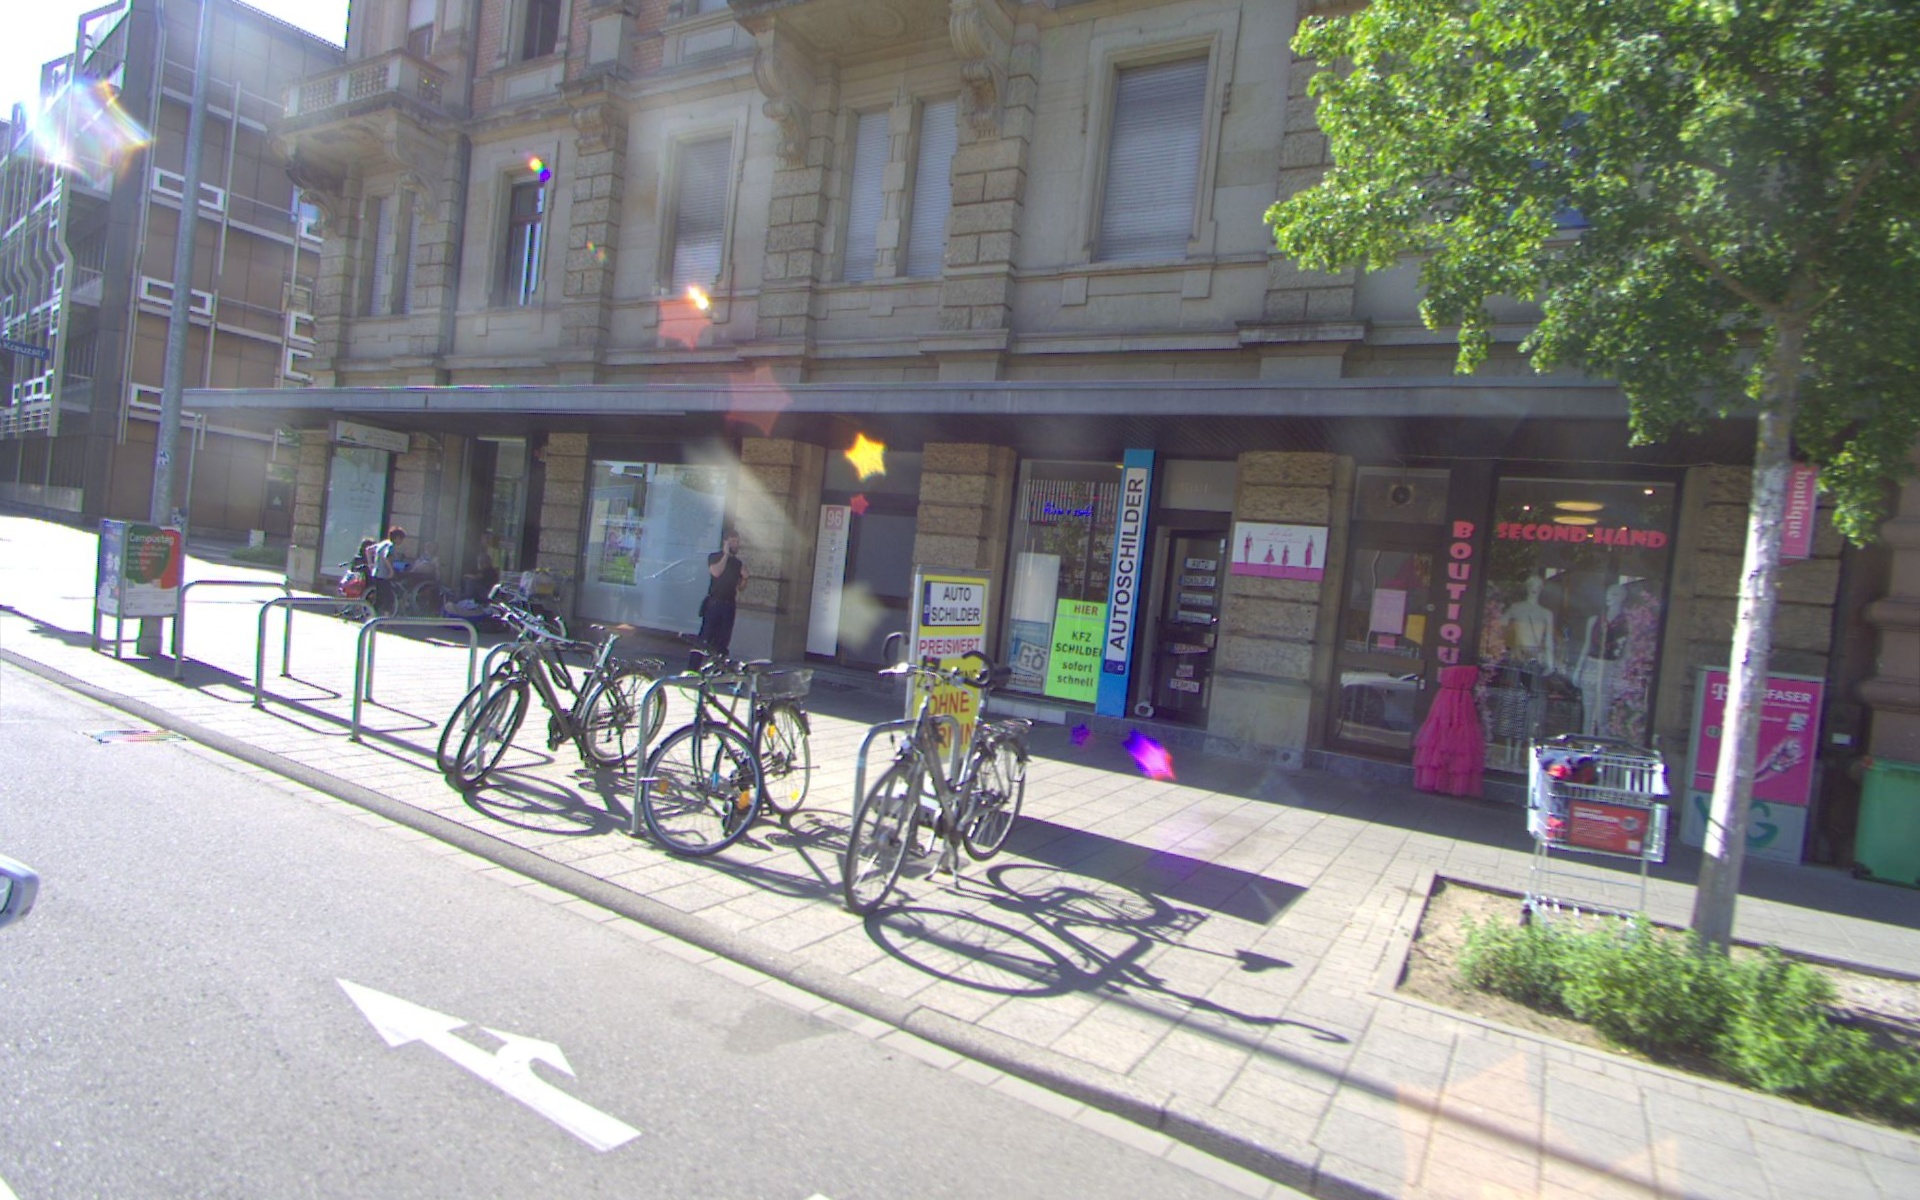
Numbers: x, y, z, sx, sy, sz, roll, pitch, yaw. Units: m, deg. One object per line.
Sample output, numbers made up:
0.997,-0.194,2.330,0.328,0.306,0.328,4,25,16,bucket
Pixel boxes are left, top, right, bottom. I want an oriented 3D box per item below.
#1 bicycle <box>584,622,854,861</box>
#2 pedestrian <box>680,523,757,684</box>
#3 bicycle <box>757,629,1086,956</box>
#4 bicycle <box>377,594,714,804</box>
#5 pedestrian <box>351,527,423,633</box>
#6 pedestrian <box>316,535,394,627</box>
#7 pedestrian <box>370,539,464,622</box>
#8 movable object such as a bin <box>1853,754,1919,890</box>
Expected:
-1.331,0.729,5.899,0.592,1.125,1.665,6,2,23,bicycle
-2.848,0.048,11.874,0.493,1.824,0.510,7,1,39,pedestrian
-0.097,0.819,5.084,0.680,1.268,1.865,6,2,30,bicycle
-2.623,0.589,6.652,0.593,1.135,2.050,6,2,31,bicycle
-8.023,-0.280,14.085,0.637,1.413,0.573,6,3,30,pedestrian
-8.637,-0.268,14.370,0.637,1.234,0.715,7,3,37,pedestrian
-8.765,-0.307,16.253,0.691,1.234,1.072,6,2,31,pedestrian
6.989,1.636,7.414,0.468,0.877,0.604,6,2,36,movable object such as a bin
